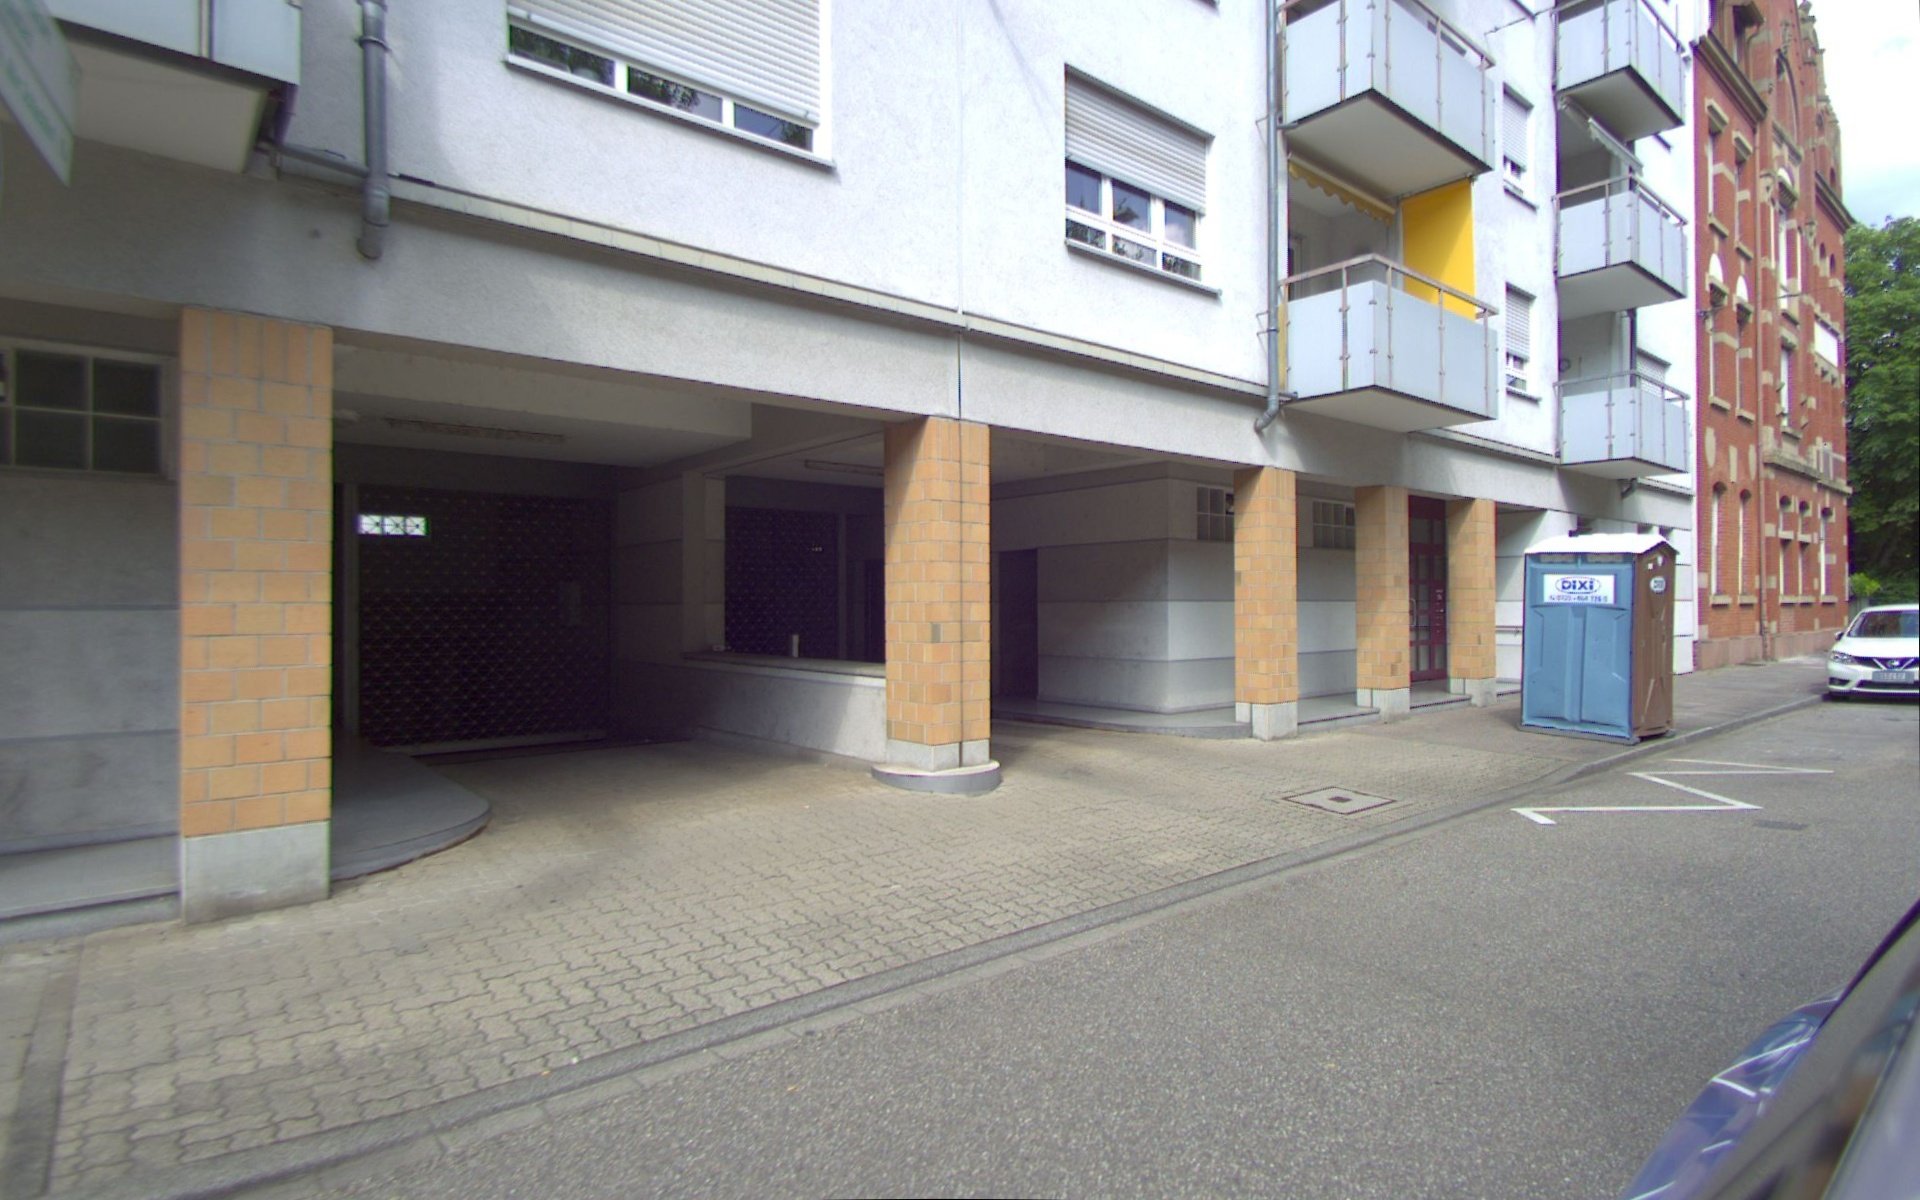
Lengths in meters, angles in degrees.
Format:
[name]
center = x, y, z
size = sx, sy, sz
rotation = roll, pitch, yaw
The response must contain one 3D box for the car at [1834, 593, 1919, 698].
[car]
center = 15.605, 0.663, 16.198
size = 3.969, 1.549, 1.800
rotation = 0, -1, -40
